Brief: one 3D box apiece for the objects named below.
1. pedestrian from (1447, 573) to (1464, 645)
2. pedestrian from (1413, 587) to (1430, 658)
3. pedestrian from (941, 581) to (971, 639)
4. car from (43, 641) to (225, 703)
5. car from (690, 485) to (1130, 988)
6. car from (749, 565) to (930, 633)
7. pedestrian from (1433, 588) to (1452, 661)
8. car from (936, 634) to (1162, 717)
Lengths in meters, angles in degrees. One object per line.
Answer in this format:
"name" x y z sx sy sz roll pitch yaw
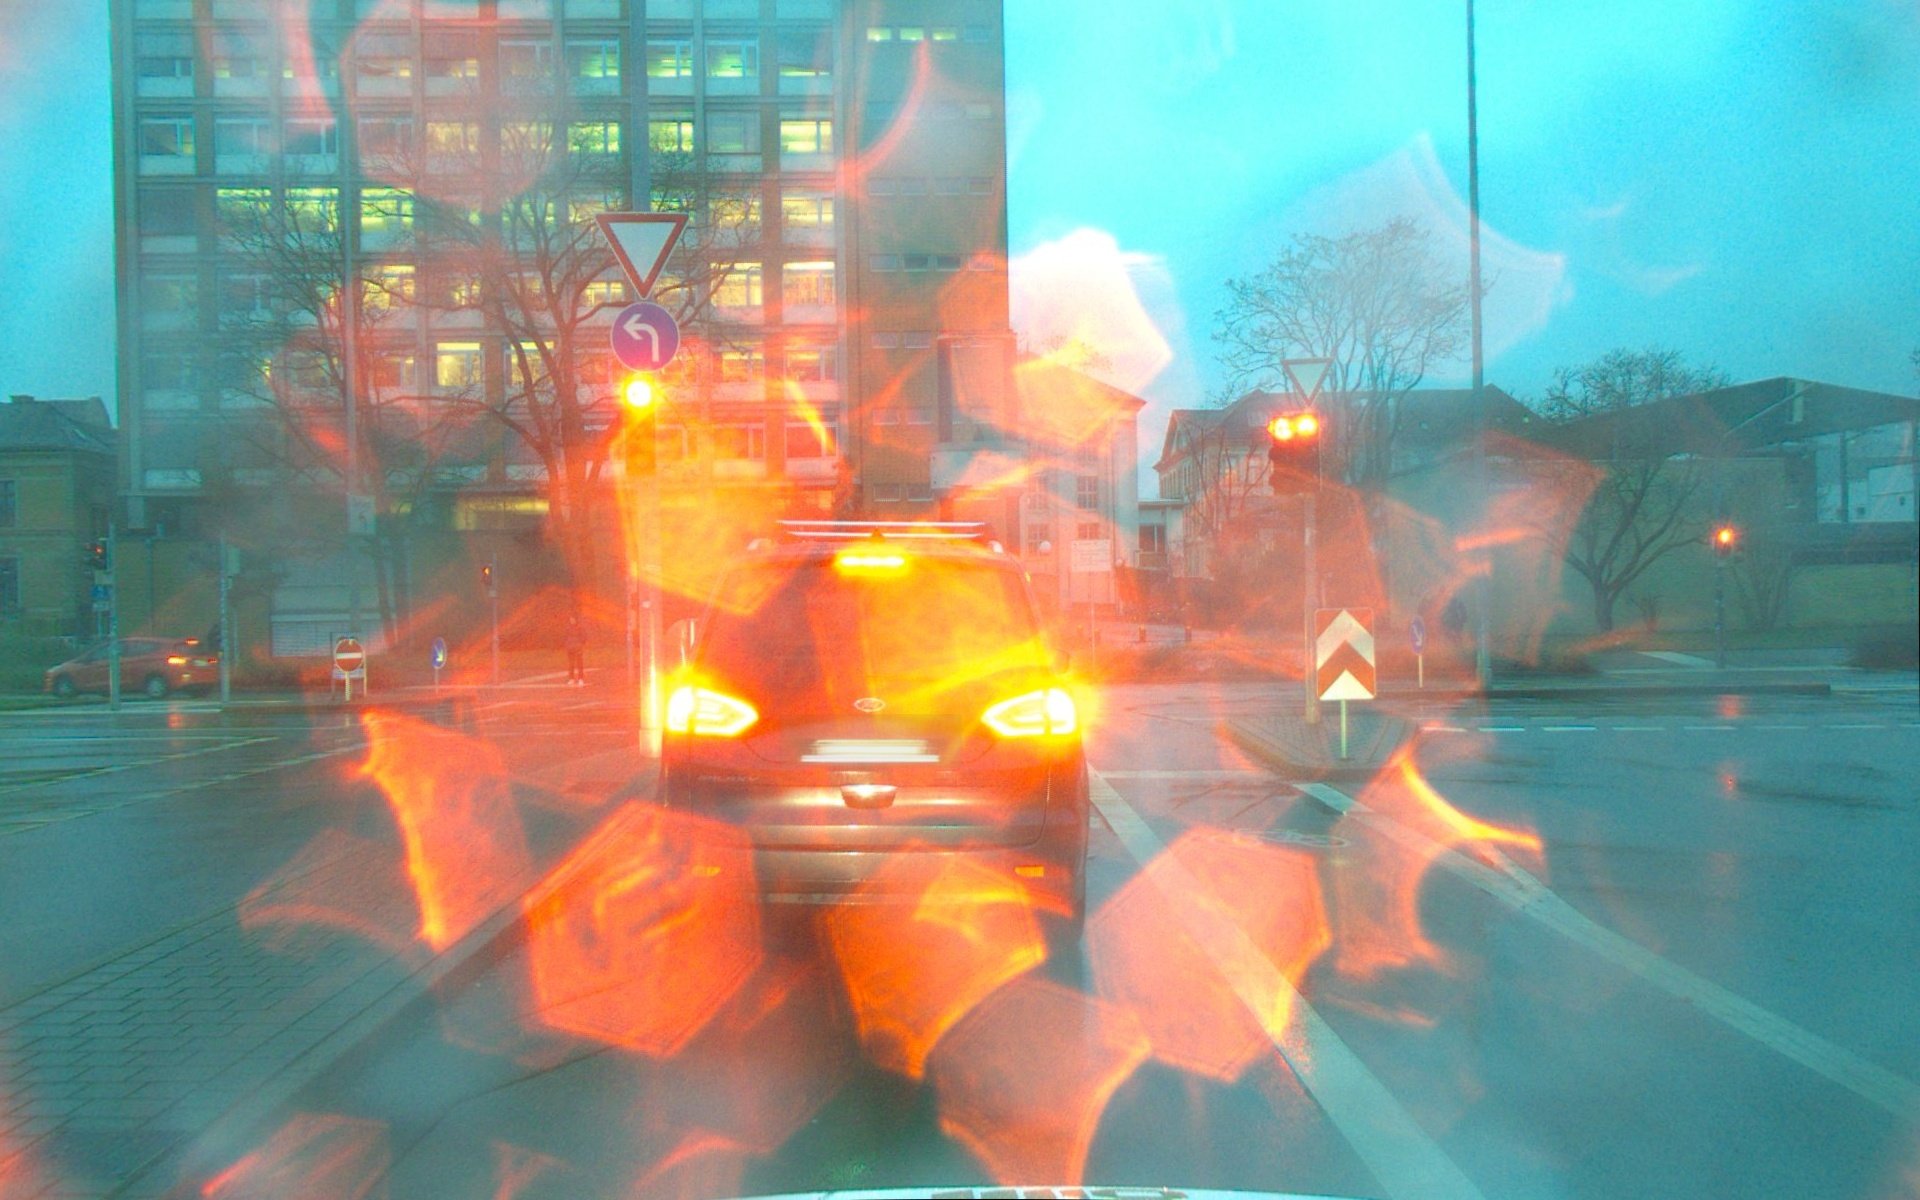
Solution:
"pedestrian" 13.077 0.237 43.649 0.428 1.871 0.460 0 -2 18
"pedestrian" 12.190 0.599 43.663 0.428 1.871 0.460 0 -2 17
"pedestrian" -0.115 0.295 48.543 0.675 1.690 0.672 1 -2 -25
"car" -19.867 1.721 39.810 3.708 1.423 1.566 0 -2 11
"car" -0.212 0.492 8.107 1.613 1.850 3.999 0 0 -1
"car" -3.770 -0.012 52.361 5.429 2.060 2.001 0 -2 5
"pedestrian" 12.386 0.631 42.478 0.448 1.871 0.439 0 -2 16
"car" 1.848 1.513 33.721 4.338 1.608 1.969 0 -2 12
